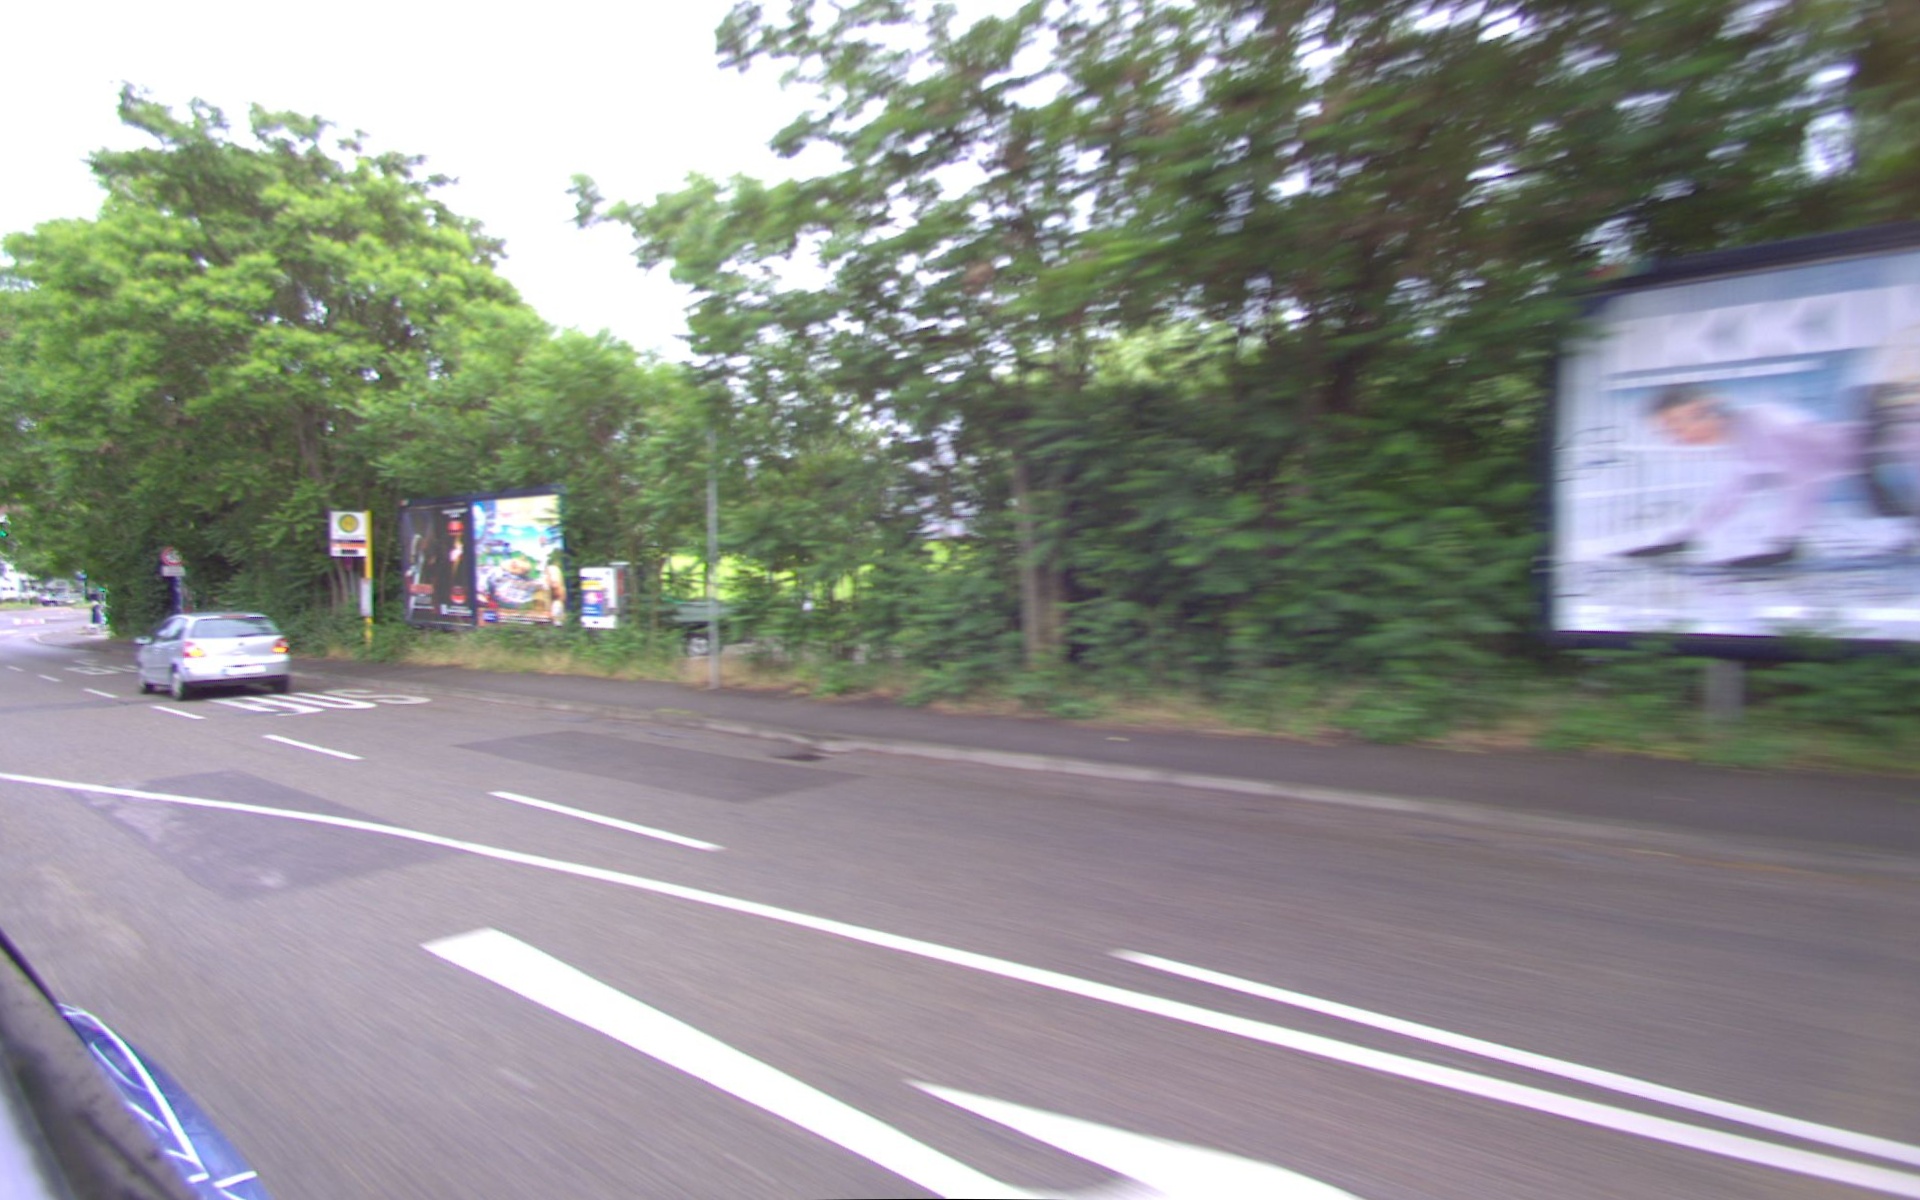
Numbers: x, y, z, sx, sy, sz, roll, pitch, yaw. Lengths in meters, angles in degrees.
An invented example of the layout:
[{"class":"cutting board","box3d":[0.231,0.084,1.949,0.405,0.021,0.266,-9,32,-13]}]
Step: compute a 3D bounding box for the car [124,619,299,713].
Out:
[{"class":"car","box3d":[-13.379,1.091,18.019,3.776,1.479,1.652,-1,-1,39]}]
